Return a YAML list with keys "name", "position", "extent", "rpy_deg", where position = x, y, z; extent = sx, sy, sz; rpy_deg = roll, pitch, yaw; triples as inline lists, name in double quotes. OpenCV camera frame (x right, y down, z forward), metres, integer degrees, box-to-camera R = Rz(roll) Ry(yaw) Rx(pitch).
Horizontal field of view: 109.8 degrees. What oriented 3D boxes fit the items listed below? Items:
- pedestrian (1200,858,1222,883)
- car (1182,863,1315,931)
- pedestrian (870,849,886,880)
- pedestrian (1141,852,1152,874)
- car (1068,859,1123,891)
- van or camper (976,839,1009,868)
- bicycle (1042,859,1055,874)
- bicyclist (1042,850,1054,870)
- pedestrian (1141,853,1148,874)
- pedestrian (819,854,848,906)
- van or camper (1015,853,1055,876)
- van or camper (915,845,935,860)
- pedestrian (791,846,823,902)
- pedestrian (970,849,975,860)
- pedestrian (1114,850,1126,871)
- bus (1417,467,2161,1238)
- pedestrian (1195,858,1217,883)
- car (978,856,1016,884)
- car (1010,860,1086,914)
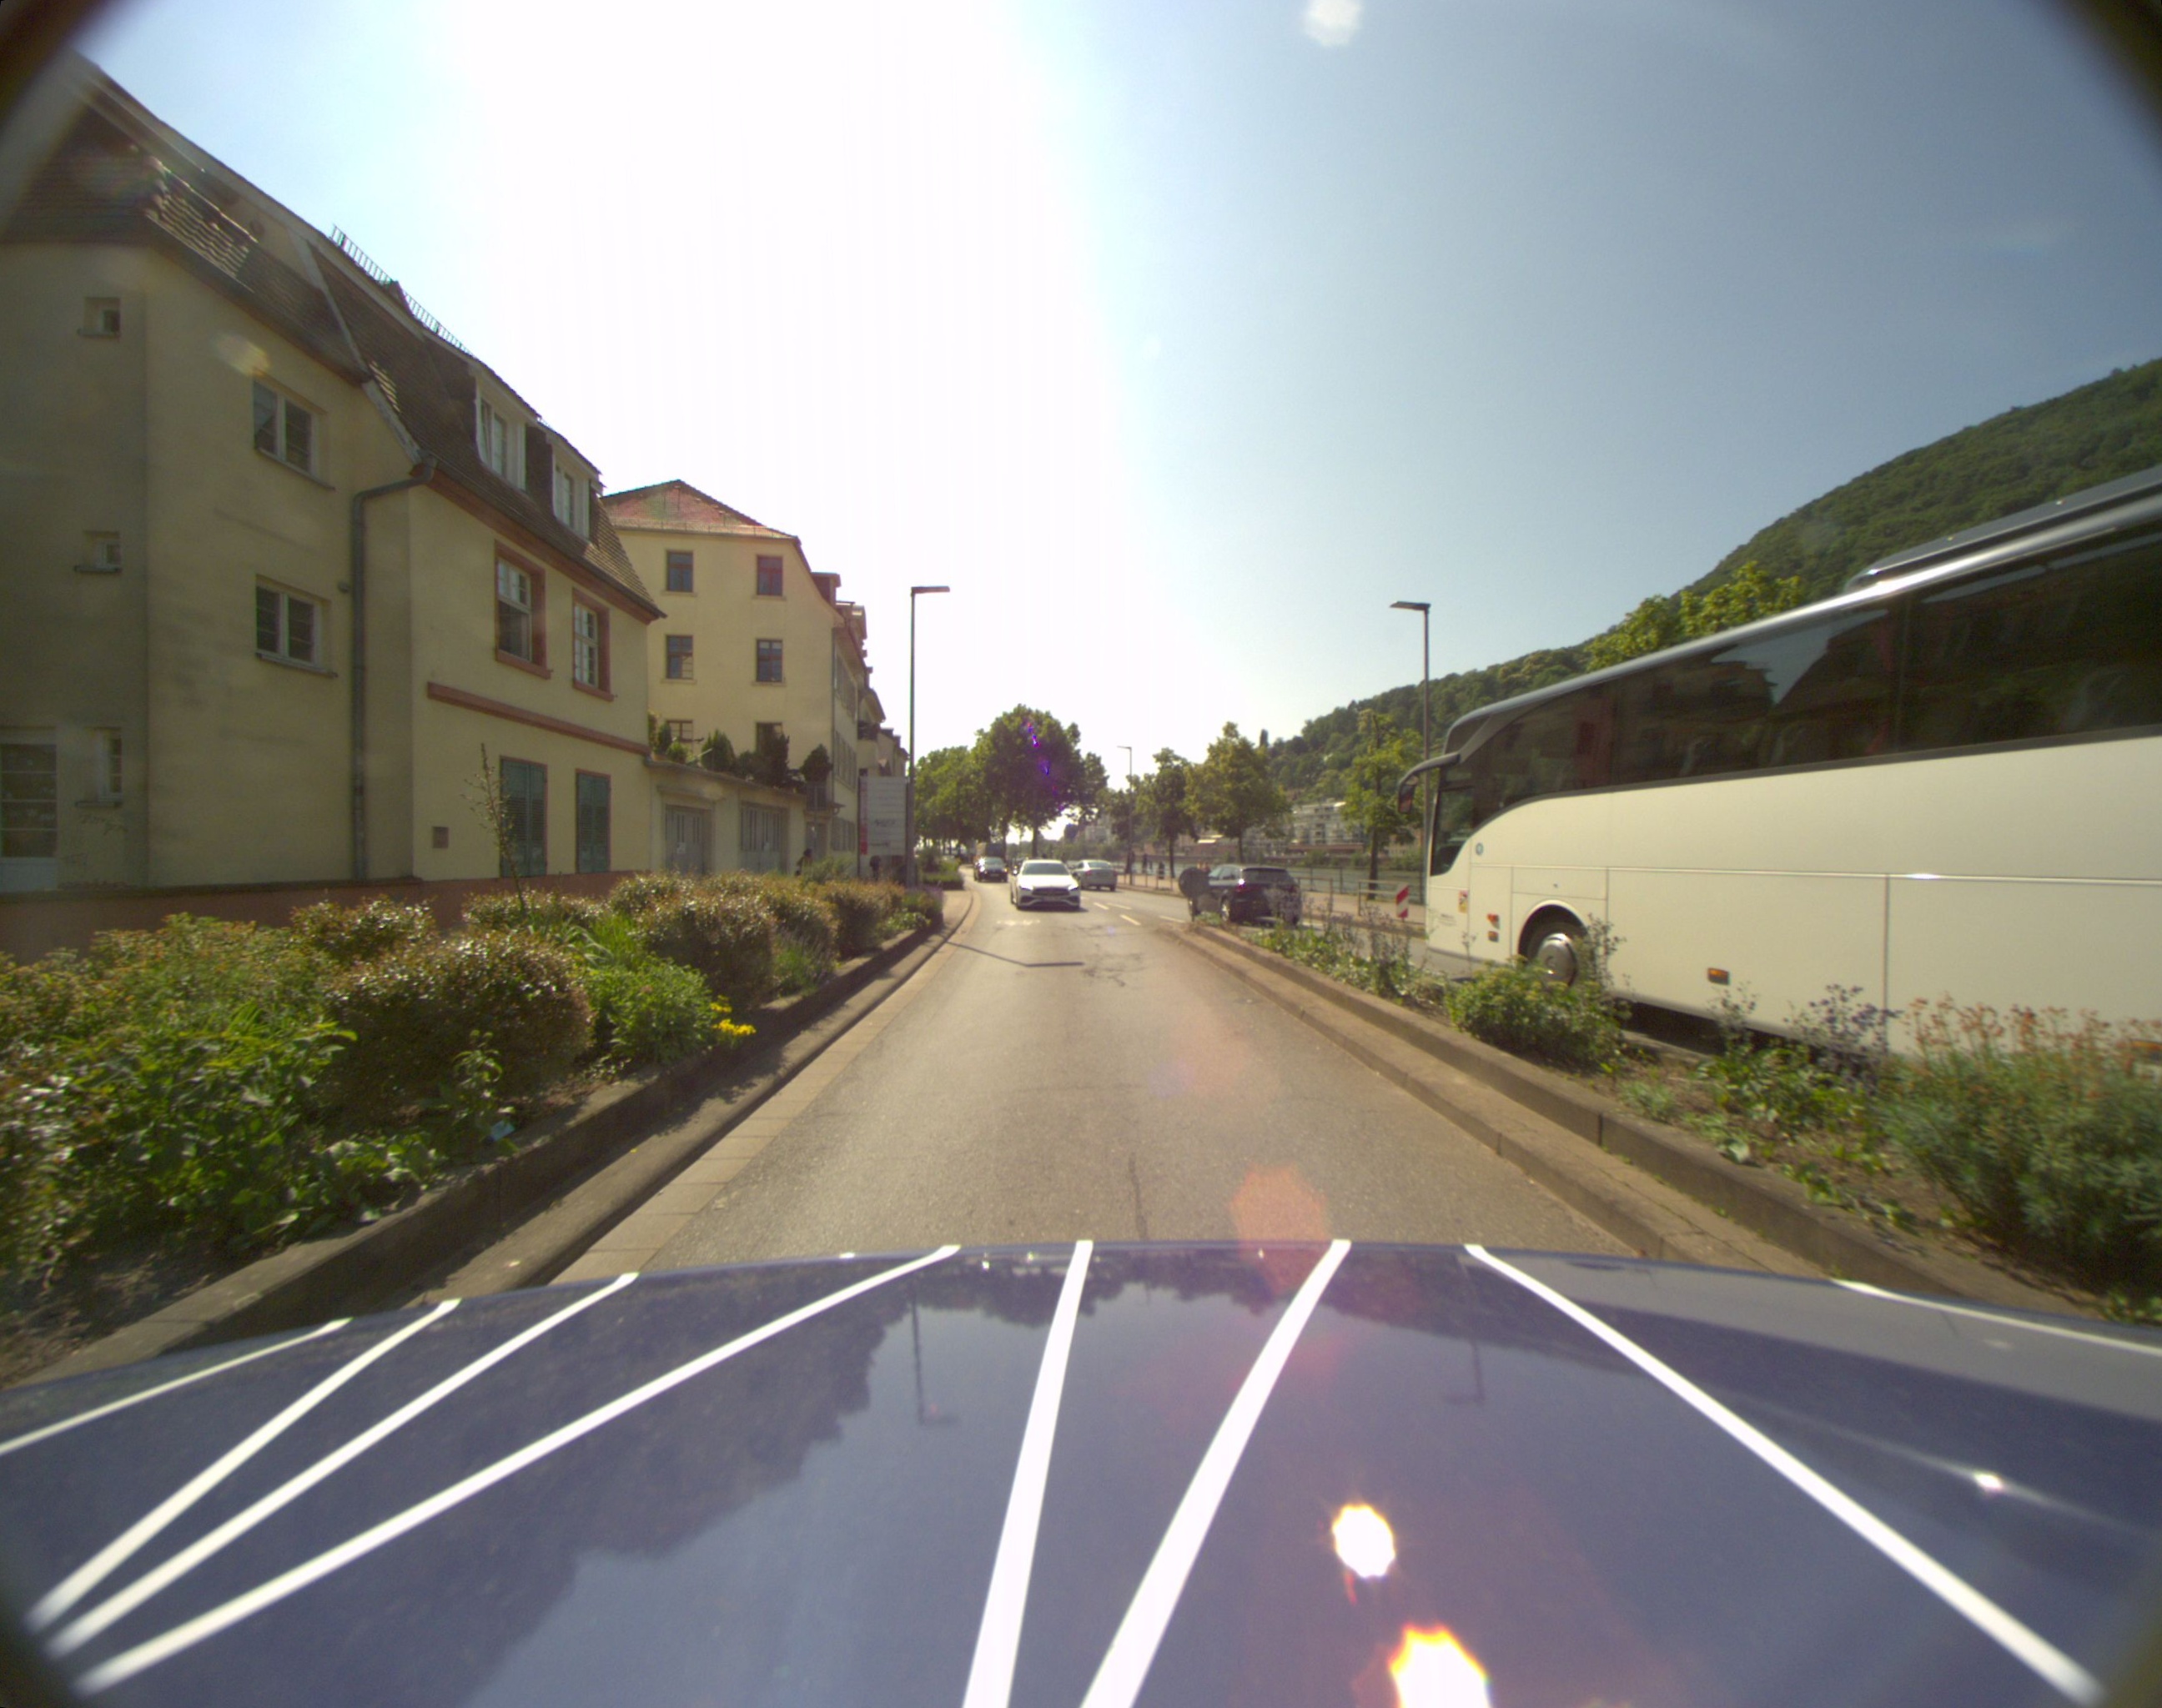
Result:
- name: "pedestrian"
  position: [6.765, 0.871, 39.566]
  extent: [0.939, 1.273, 0.849]
  rpy_deg: [0, 1, -7]
- name: "car"
  position: [3.992, 0.982, 18.880]
  extent: [1.823, 1.421, 4.189]
  rpy_deg: [2, 0, -9]
- name: "pedestrian"
  position: [-11.577, 0.588, 43.337]
  extent: [0.764, 1.703, 0.695]
  rpy_deg: [3, 0, -12]
- name: "pedestrian"
  position: [4.938, 0.680, 57.214]
  extent: [0.696, 1.607, 0.663]
  rpy_deg: [0, 1, -8]
- name: "car"
  position: [0.647, 0.970, 36.884]
  extent: [1.820, 1.420, 4.306]
  rpy_deg: [2, -1, -10]
- name: "van or camper"
  position: [-8.333, -0.079, 70.692]
  extent: [2.095, 2.542, 7.081]
  rpy_deg: [0, 1, -14]
- name: "bicycle"
  position: [-2.710, 1.024, 63.291]
  extent: [0.714, 1.162, 1.893]
  rpy_deg: [0, 0, -15]
- name: "bicyclist"
  position: [-2.769, 0.499, 63.457]
  extent: [0.743, 1.658, 1.088]
  rpy_deg: [0, 0, -14]
- name: "pedestrian"
  position: [4.827, 0.692, 57.840]
  extent: [0.416, 1.588, 0.450]
  rpy_deg: [0, 1, -8]
- name: "pedestrian"
  position: [-7.765, 0.799, 23.846]
  extent: [0.764, 1.586, 0.695]
  rpy_deg: [0, 1, -8]
- name: "van or camper"
  position: [-3.229, 0.706, 52.488]
  extent: [2.001, 1.446, 4.676]
  rpy_deg: [2, 0, -13]
- name: "van or camper"
  position: [-24.067, -0.207, 116.911]
  extent: [2.441, 2.271, 6.194]
  rpy_deg: [0, 1, -16]
- name: "pedestrian"
  position: [-8.548, 0.607, 23.752]
  extent: [0.740, 1.689, 0.933]
  rpy_deg: [1, 1, -8]
- name: "pedestrian"
  position: [-16.844, 0.041, 117.811]
  extent: [0.714, 1.754, 0.971]
  rpy_deg: [0, 1, -16]
- name: "pedestrian"
  position: [3.236, 0.548, 63.321]
  extent: [0.759, 1.673, 0.657]
  rpy_deg: [-2, 2, -16]
- name: "bus"
  position: [6.277, 0.000, 3.671]
  extent: [2.639, 3.544, 12.974]
  rpy_deg: [1, 1, -4]
- name: "pedestrian"
  position: [6.655, 0.861, 40.471]
  extent: [0.939, 1.273, 0.849]
  rpy_deg: [0, 1, -7]
- name: "car"
  position: [-4.635, 0.807, 41.430]
  extent: [1.877, 1.416, 4.741]
  rpy_deg: [0, 0, -8]
- name: "car"
  position: [-1.121, 0.936, 23.396]
  extent: [1.877, 1.416, 4.741]
  rpy_deg: [0, 0, -8]
